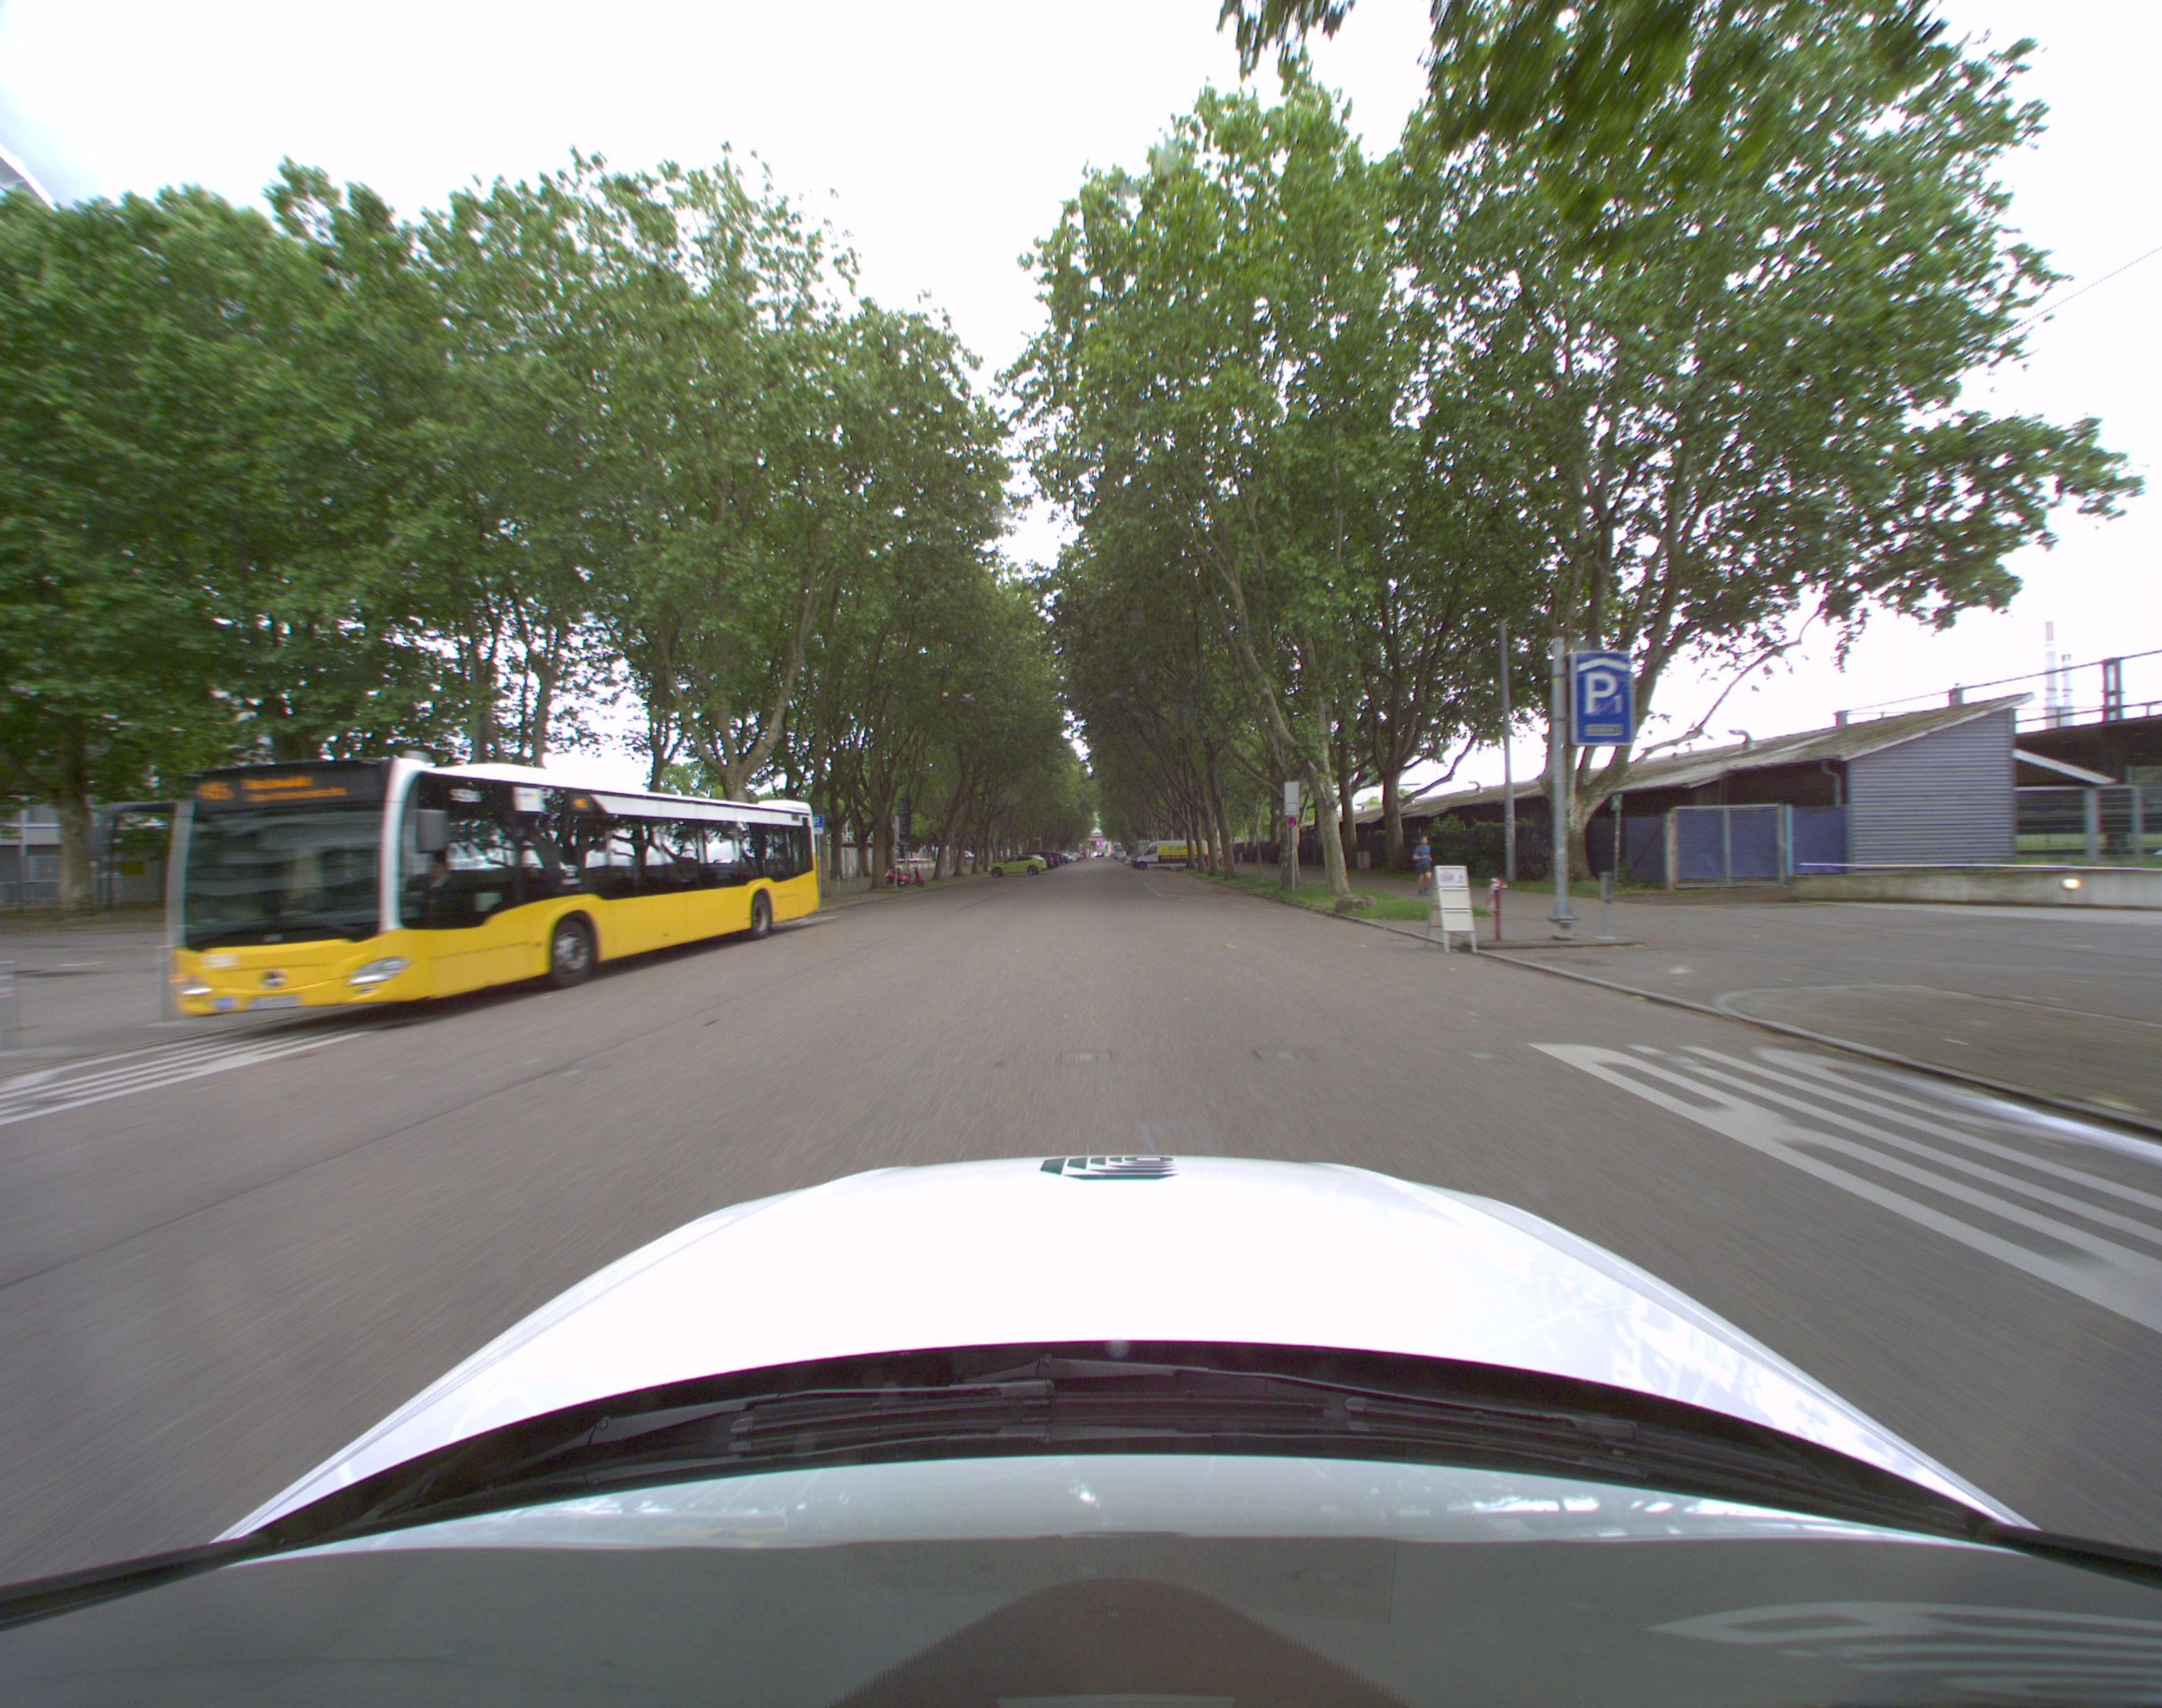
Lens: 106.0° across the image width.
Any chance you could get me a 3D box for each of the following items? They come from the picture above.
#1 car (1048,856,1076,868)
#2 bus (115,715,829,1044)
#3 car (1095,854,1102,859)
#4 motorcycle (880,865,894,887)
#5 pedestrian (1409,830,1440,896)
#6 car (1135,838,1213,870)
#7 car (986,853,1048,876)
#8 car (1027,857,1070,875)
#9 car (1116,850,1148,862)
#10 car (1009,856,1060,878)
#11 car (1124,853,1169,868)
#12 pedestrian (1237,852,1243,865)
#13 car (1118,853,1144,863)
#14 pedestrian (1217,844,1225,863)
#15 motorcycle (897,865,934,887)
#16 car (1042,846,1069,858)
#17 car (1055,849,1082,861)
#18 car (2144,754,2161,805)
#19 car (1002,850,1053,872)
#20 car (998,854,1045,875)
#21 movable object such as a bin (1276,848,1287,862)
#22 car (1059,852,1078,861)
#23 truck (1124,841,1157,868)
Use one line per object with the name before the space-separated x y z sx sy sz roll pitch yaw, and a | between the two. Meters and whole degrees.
car | -2.933 1.180 126.667 4.366 1.597 1.999 -3 0 -1
bus | -8.129 0.267 14.463 2.640 3.154 12.378 -4 0 3
car | 4.737 0.625 224.266 1.650 1.364 4.109 -4 0 -2
motorcycle | -10.871 1.213 45.566 0.575 1.158 2.064 0 0 -18
pedestrian | 10.750 0.285 25.523 0.705 2.014 0.884 -1 0 10
car | 8.272 0.002 72.881 6.853 2.695 2.129 0 0 2
car | -4.941 0.830 63.253 4.496 1.618 1.760 -2 0 3
car | -4.276 1.581 108.173 5.418 2.128 1.940 -3 0 -1
car | 6.974 0.304 111.817 4.320 1.618 1.806 1 0 4
car | -4.677 1.295 82.995 4.886 1.924 2.209 -3 0 2
car | 6.497 0.629 80.452 4.338 1.445 1.614 0 0 5
pedestrian | 13.460 0.371 68.947 0.393 1.084 0.419 -4 -1 5
car | 7.770 0.588 126.740 4.102 1.429 1.704 1 -1 3
pedestrian | 13.083 -0.087 76.131 0.636 1.741 0.621 -3 0 4
motorcycle | -9.178 1.192 45.240 0.568 1.158 2.089 -1 0 44
car | -4.200 -0.275 134.632 4.327 1.667 1.999 -4 0 -1
car | -2.272 0.217 149.664 4.877 2.019 1.919 -3 -1 0
car | 37.814 -2.488 26.376 4.247 1.673 1.983 0 0 -1
car | -5.103 0.672 78.157 4.752 1.924 2.015 -3 0 -4
car | -5.295 0.929 73.312 4.096 1.568 1.756 -4 0 -4
movable object such as a bin | 14.952 0.068 60.859 0.566 0.959 0.675 -6 0 1
car | -2.585 0.590 166.387 3.816 1.627 1.952 -3 0 -2
truck | 6.808 0.049 94.234 2.456 2.938 7.520 0 0 -7
